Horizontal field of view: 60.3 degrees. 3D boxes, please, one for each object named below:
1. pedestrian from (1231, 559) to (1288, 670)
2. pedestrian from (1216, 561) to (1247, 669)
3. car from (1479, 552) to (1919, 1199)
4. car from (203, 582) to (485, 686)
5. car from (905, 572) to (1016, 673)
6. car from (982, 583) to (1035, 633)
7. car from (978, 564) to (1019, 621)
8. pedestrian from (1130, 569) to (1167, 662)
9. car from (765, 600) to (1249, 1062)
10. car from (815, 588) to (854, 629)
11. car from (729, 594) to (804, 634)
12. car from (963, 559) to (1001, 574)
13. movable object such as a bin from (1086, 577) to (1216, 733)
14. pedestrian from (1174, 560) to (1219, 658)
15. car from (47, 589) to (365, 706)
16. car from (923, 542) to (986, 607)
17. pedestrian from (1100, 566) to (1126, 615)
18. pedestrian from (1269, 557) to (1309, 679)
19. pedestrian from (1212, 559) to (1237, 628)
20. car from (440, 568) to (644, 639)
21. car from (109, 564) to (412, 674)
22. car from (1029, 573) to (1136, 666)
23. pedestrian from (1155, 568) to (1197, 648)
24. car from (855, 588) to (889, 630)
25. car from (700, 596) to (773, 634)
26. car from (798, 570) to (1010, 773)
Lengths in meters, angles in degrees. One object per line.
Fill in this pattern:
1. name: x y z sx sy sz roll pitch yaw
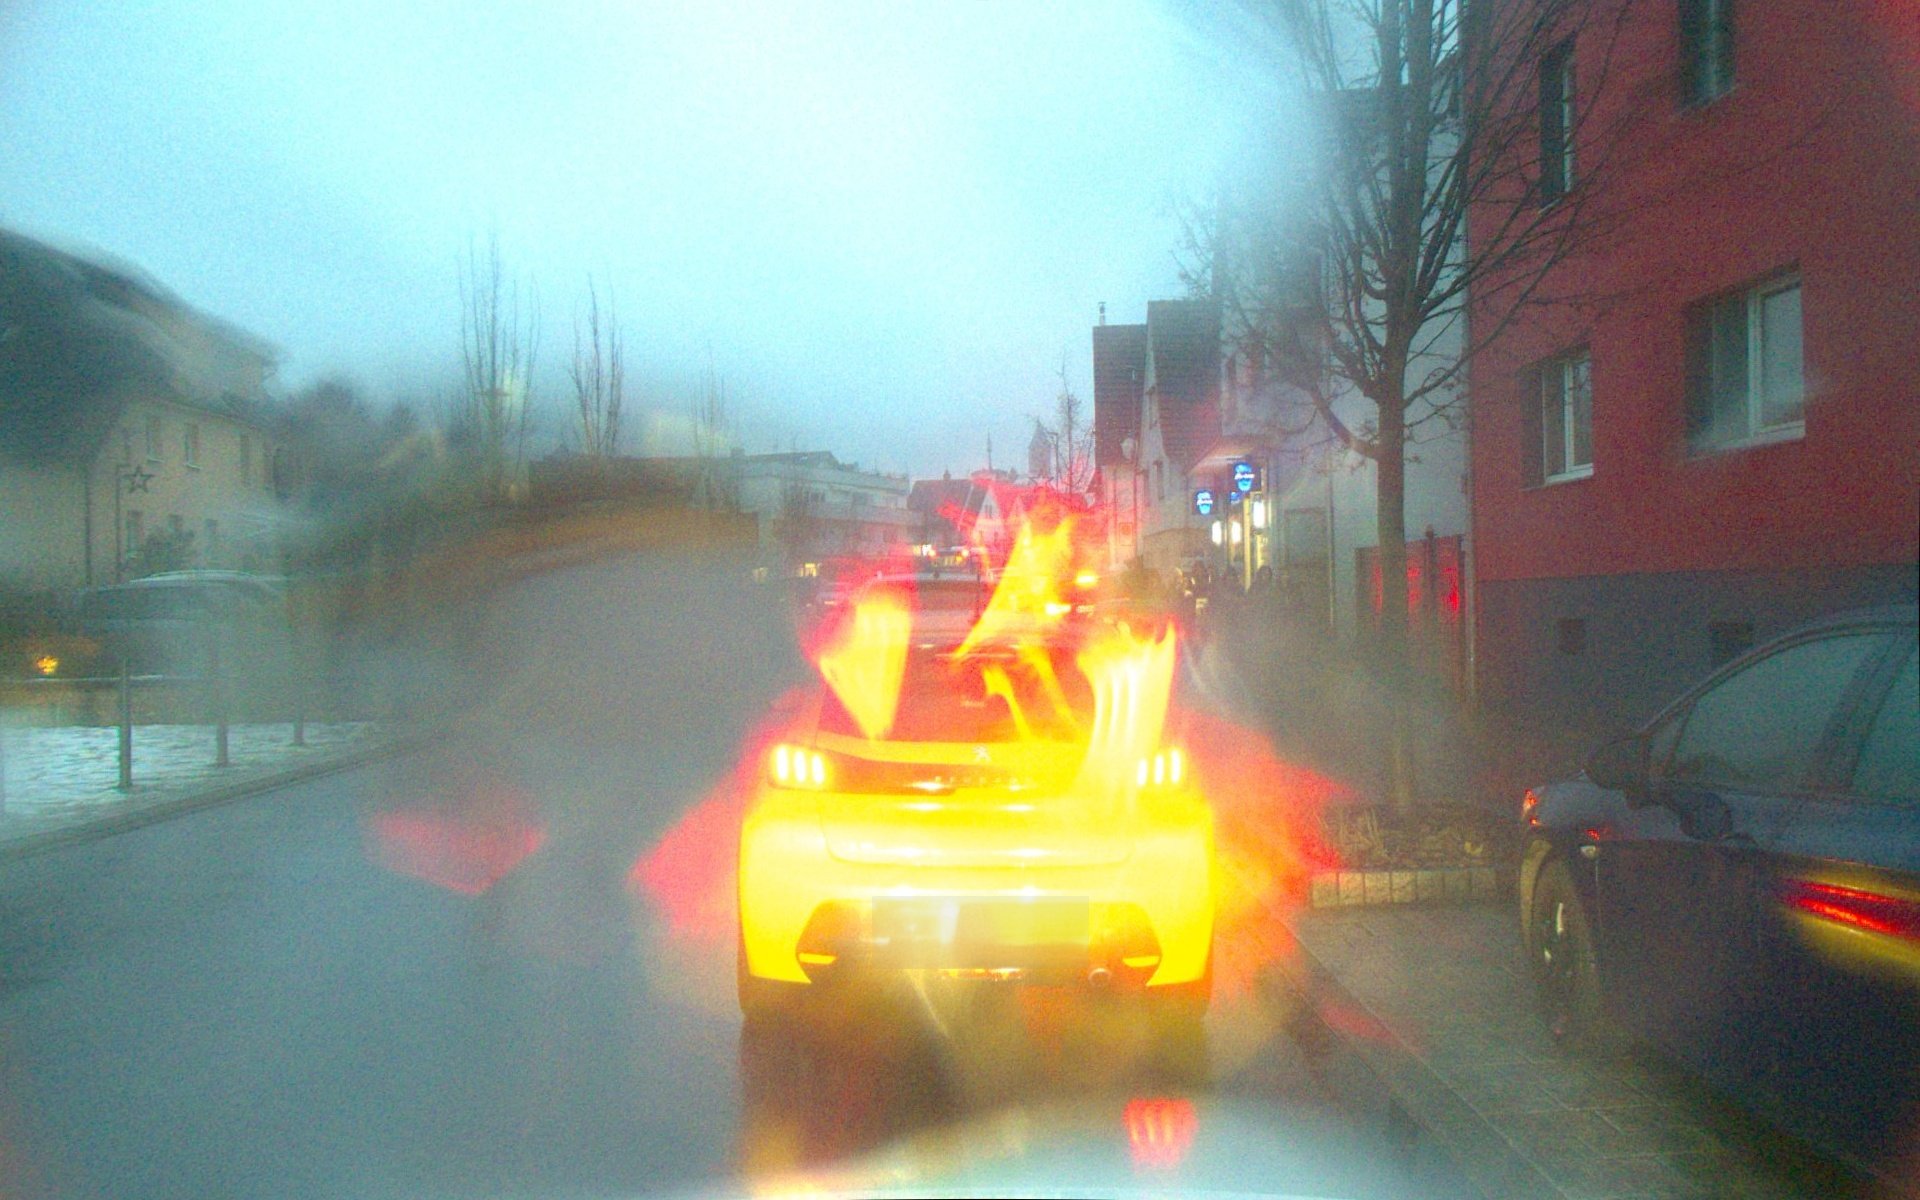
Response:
1. pedestrian: 4.754 0.234 26.317 0.731 1.708 1.052 -2 -1 5
2. pedestrian: 4.667 0.252 28.464 0.517 1.832 0.865 0 1 9
3. car: 2.756 0.647 4.005 1.693 1.490 4.200 -3 1 1
4. car: -10.005 0.539 27.023 4.008 1.636 1.588 0 0 2
5. car: -0.020 0.295 24.335 1.510 1.355 3.311 1 1 -1
6. car: 1.875 0.313 65.162 1.957 1.897 4.082 0 0 0
7. car: 1.795 -0.311 77.553 1.832 2.512 4.443 1 -2 0
8. pedestrian: 3.597 0.294 31.572 0.561 1.729 0.653 -2 0 1
9. car: 0.134 0.741 6.792 1.531 1.437 3.017 1 0 -1
10. car: -6.648 0.466 87.838 1.881 2.063 3.972 1 -2 -3
11. car: -11.067 0.815 94.504 4.310 2.204 1.987 -1 -3 44
12. car: 2.039 -3.092 153.101 3.501 1.311 1.327 1 -2 4
13. movable object such as a bin: 1.922 0.529 16.888 1.106 1.445 1.418 -4 1 1
14. pedestrian: 4.338 0.148 30.276 0.697 1.745 1.035 -2 1 13
15. car: -9.755 0.592 21.583 3.375 1.396 1.600 -1 0 -2
16. car: -0.305 -1.275 86.531 3.126 3.085 6.303 1 -2 -1
17. pedestrian: 4.839 -0.303 52.203 0.608 1.542 0.731 -1 2 -14
18. pedestrian: 4.663 0.265 23.471 0.517 1.682 0.954 0 -2 9
19. pedestrian: 6.840 -0.173 42.752 0.605 1.757 0.502 0 -2 11
20. car: -10.180 0.083 40.562 4.533 1.697 1.999 0 0 -3
21. car: -10.198 0.273 24.275 3.713 1.549 1.716 0 0 6
22. car: 2.383 0.358 33.175 1.700 1.722 4.385 -1 0 -1
23. pedestrian: 4.574 0.166 35.087 0.608 1.655 0.903 -1 2 -14
24. car: -5.071 0.552 95.550 1.881 2.254 3.972 1 -2 -3
25. car: -12.331 0.838 91.015 4.097 2.011 1.810 -1 -3 44
26. car: -0.487 0.575 15.470 1.730 1.657 3.585 1 0 -1
